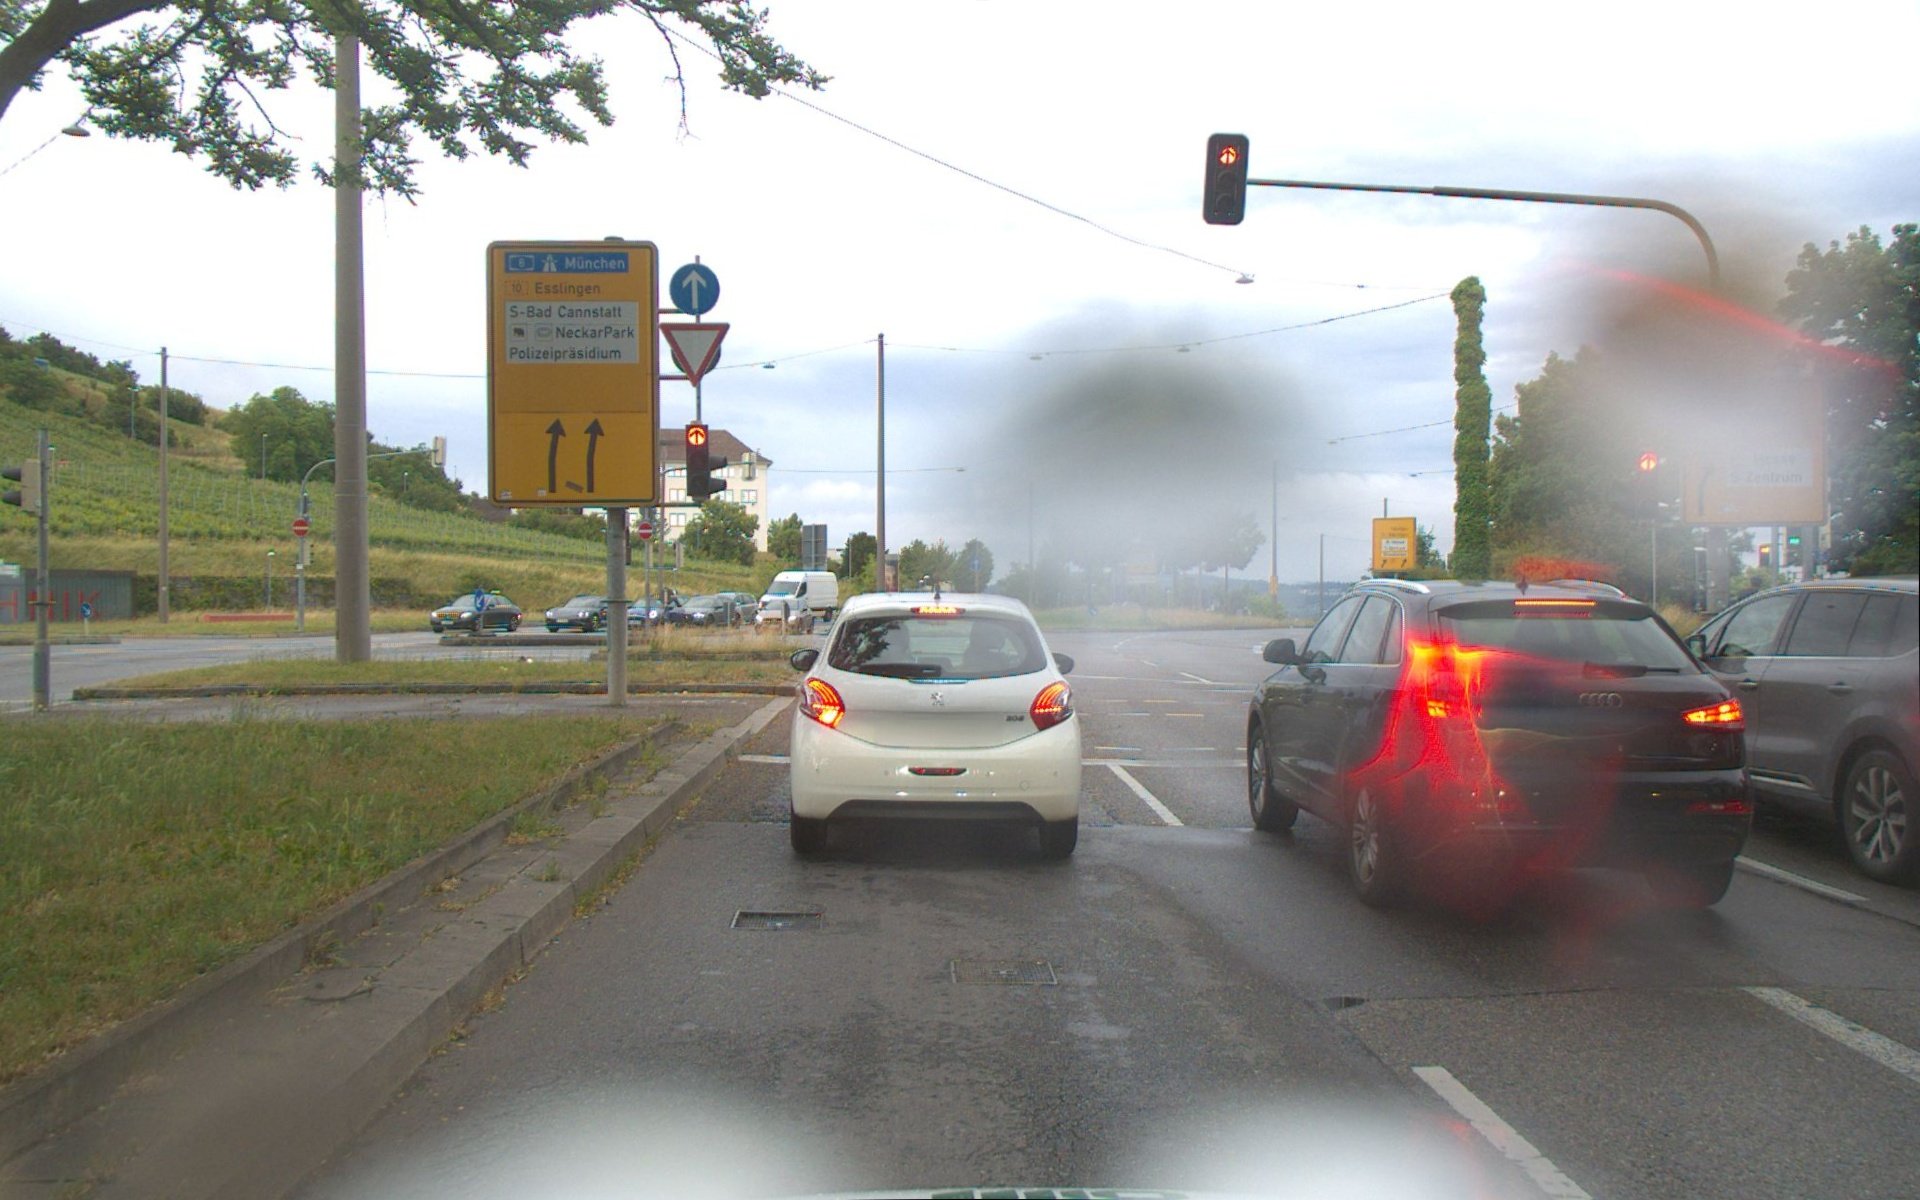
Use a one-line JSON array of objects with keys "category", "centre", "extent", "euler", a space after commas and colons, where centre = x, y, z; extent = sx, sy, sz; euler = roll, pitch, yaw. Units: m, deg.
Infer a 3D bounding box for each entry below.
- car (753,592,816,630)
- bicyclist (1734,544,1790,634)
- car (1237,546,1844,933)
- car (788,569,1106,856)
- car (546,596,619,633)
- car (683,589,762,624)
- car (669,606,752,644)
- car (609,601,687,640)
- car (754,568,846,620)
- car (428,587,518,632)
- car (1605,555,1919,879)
[{"category": "car", "centre": [-6.906, 0.434, 65.441], "extent": [1.738, 1.450, 4.376], "euler": [0, 0, 4]}, {"category": "bicyclist", "centre": [14.723, -0.189, 30.399], "extent": [0.792, 1.611, 1.023], "euler": [2, -1, 20]}, {"category": "car", "centre": [2.874, 0.617, 9.243], "extent": [1.846, 1.623, 4.112], "euler": [2, 0, -1]}, {"category": "car", "centre": [-0.111, 0.610, 10.849], "extent": [1.683, 1.515, 3.999], "euler": [1, 0, -1]}, {"category": "car", "centre": [-15.146, 0.598, 66.543], "extent": [1.749, 1.420, 3.884], "euler": [1, -1, 5]}, {"category": "car", "centre": [-11.409, 0.339, 79.610], "extent": [1.952, 1.603, 4.195], "euler": [2, 0, 20]}, {"category": "car", "centre": [-10.579, 1.033, 70.418], "extent": [1.860, 1.515, 4.896], "euler": [1, 0, 12]}, {"category": "car", "centre": [-12.119, 0.812, 64.504], "extent": [1.748, 1.420, 3.885], "euler": [1, -1, 9]}, {"category": "car", "centre": [-8.471, -0.280, 88.312], "extent": [1.954, 2.604, 6.165], "euler": [2, 0, 25]}, {"category": "car", "centre": [-18.941, 0.362, 64.551], "extent": [1.791, 1.652, 4.569], "euler": [2, 0, 5]}, {"category": "car", "centre": [5.914, 0.598, 10.359], "extent": [1.827, 1.703, 4.564], "euler": [1, 1, -2]}]
